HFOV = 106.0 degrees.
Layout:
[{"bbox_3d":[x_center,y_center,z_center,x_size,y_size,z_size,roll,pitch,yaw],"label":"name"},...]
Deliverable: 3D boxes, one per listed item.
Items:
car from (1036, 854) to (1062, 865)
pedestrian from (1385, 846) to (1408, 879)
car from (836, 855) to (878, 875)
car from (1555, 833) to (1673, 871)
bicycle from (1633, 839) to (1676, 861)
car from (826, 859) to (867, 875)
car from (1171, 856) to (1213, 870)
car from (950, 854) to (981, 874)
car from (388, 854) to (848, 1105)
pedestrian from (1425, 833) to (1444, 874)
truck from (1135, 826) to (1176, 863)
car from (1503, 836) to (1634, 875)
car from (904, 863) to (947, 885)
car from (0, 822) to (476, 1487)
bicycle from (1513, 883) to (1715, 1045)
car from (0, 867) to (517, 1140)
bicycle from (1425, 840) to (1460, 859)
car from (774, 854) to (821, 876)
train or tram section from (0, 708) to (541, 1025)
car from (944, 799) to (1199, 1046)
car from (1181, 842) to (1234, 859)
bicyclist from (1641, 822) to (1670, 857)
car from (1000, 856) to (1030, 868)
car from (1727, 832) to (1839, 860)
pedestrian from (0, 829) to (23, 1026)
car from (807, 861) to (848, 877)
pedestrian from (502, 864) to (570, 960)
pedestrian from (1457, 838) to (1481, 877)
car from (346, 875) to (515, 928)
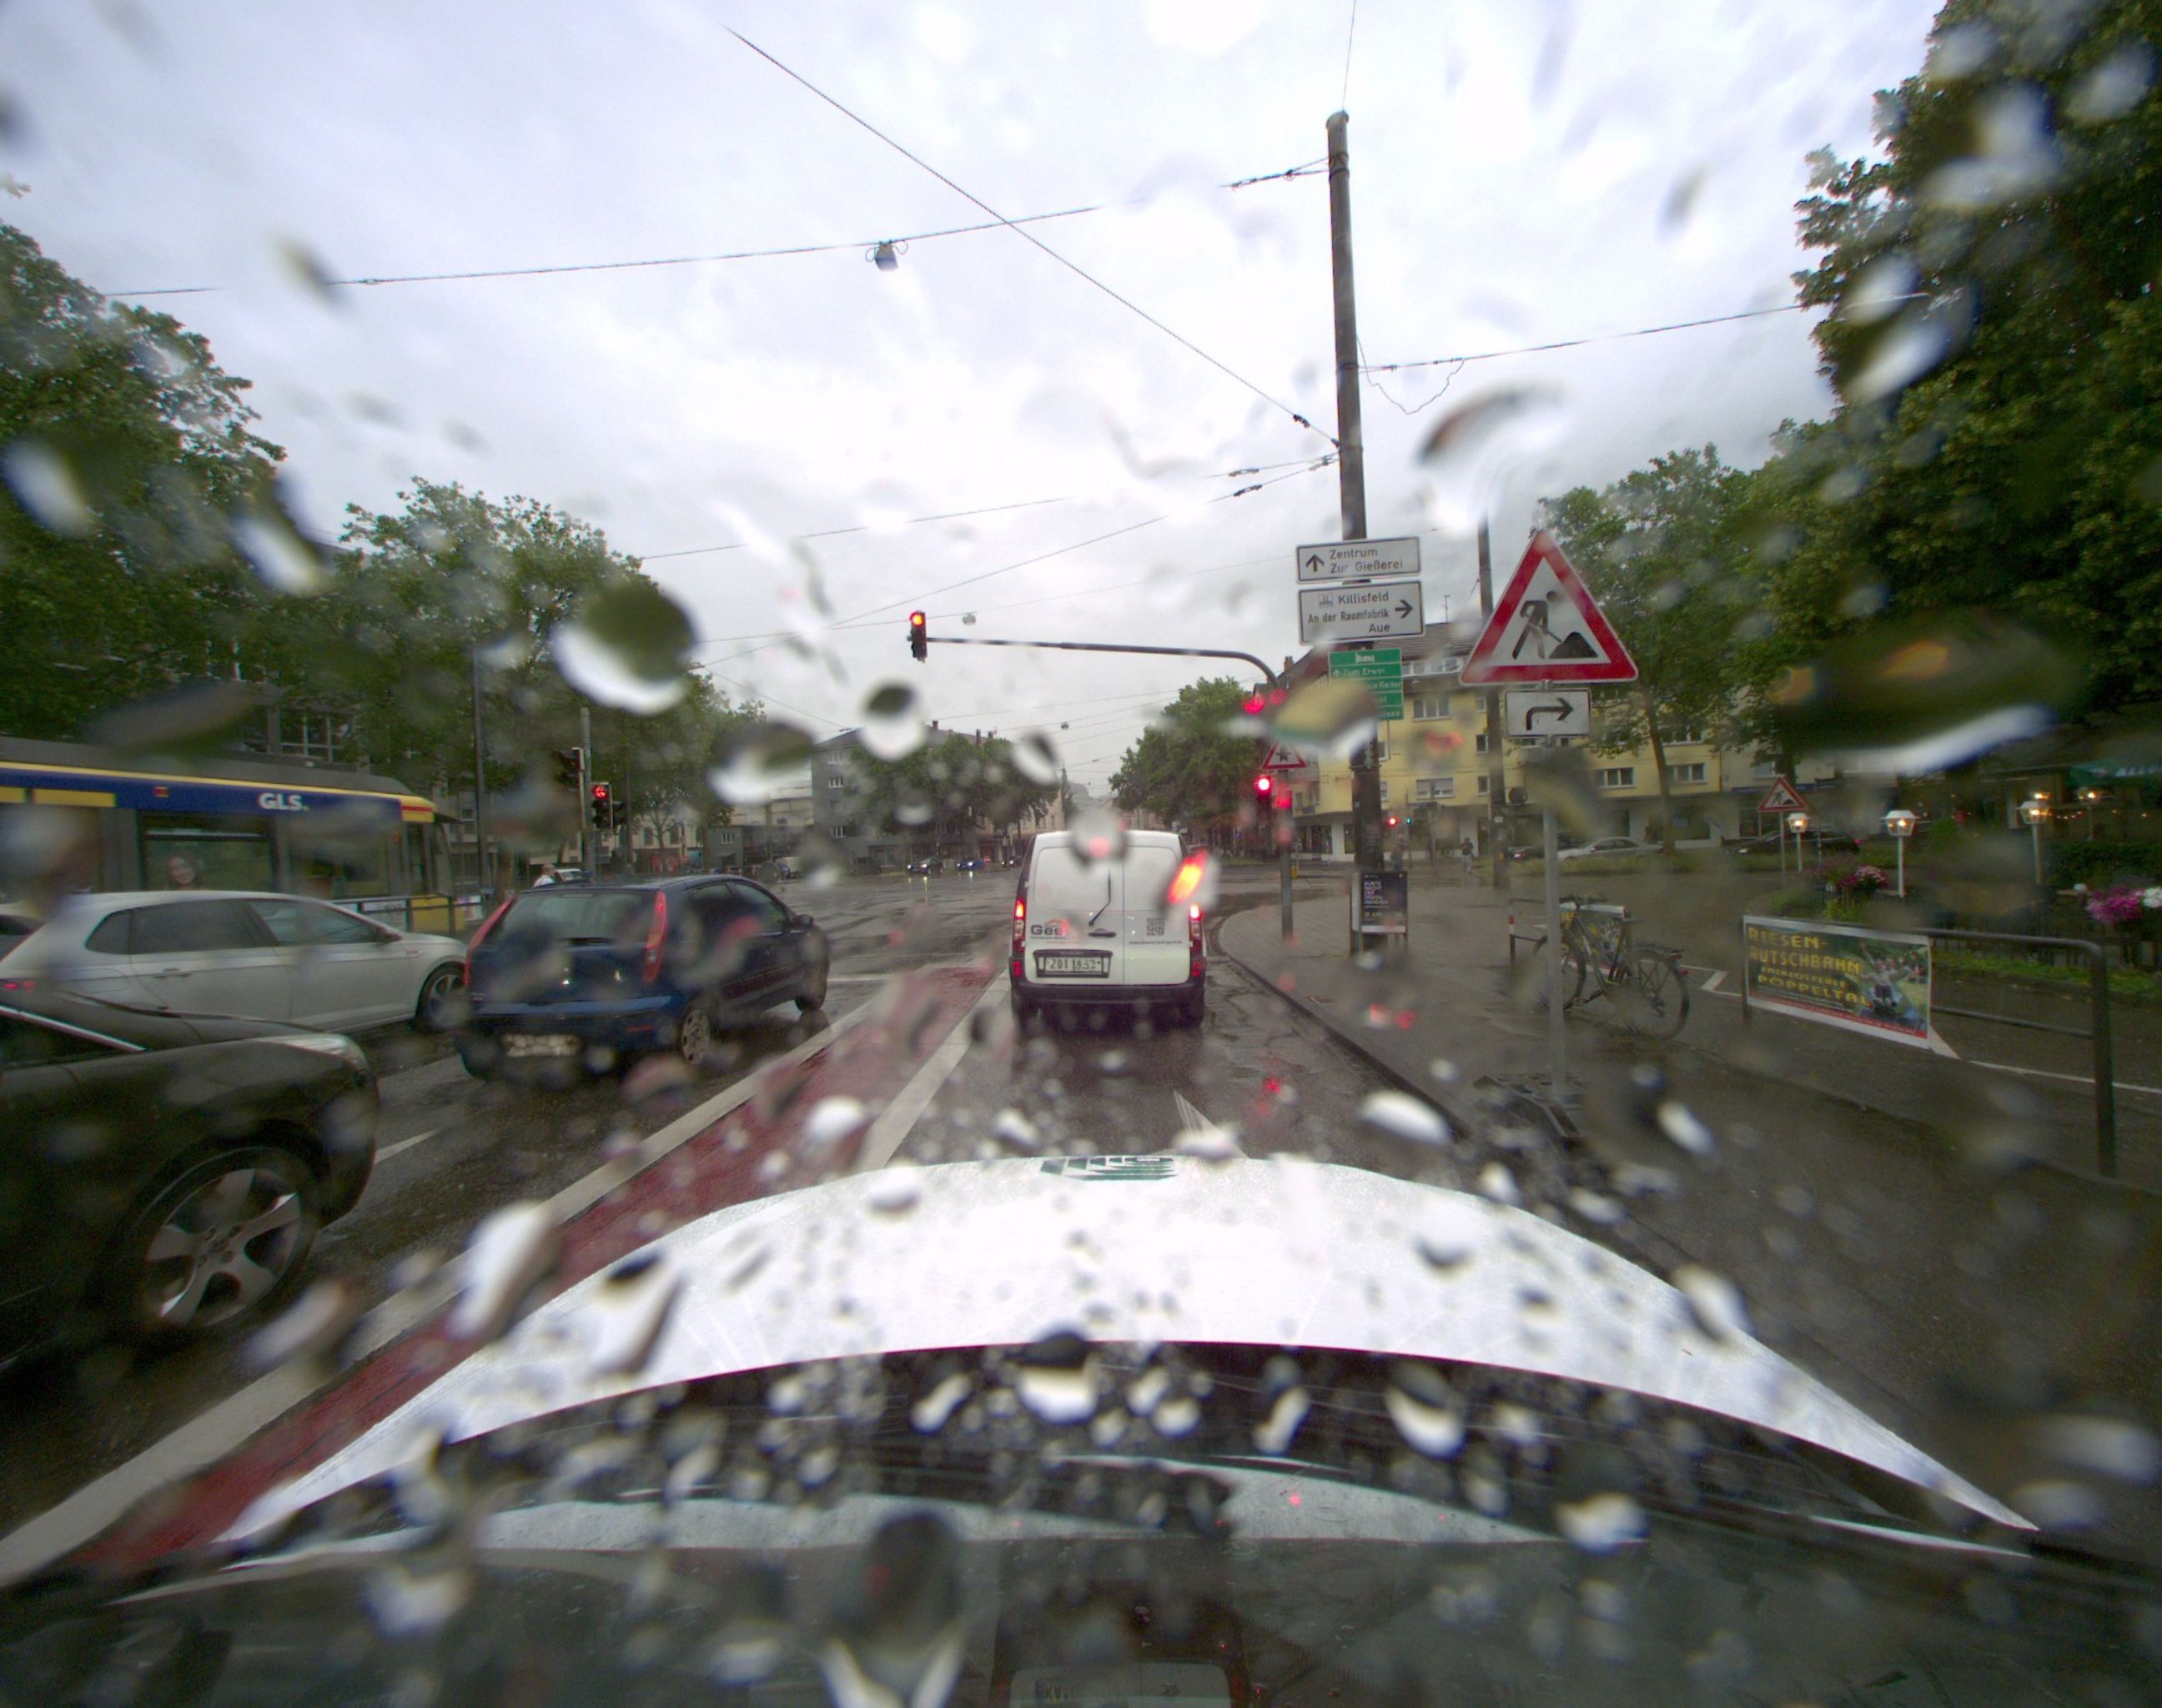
[{"bbox_3d":[-4.123,0.737,105.878,1.935,1.239,4.020,-1,1,19],"label":"car"},{"bbox_3d":[14.714,0.404,37.988,0.820,1.534,0.616,-1,-1,-37],"label":"pedestrian"},{"bbox_3d":[-23.426,1.182,85.450,1.975,2.013,4.025,-1,0,29],"label":"car"},{"bbox_3d":[22.917,-0.094,35.165,3.906,1.490,1.815,-1,1,17],"label":"car"},{"bbox_3d":[26.640,-0.169,37.833,1.631,1.002,0.422,-1,0,2],"label":"bicycle"},{"bbox_3d":[-25.202,1.415,87.690,1.975,1.530,4.025,-1,1,29],"label":"car"},{"bbox_3d":[9.630,0.755,70.809,3.437,1.130,1.468,-1,0,-6],"label":"car"},{"bbox_3d":[-11.732,0.979,83.091,1.981,2.013,4.011,-1,0,10],"label":"car"},{"bbox_3d":[-3.520,0.808,7.126,1.720,1.578,3.822,-1,0,2],"label":"car"},{"bbox_3d":[17.459,-0.011,40.183,0.787,2.014,0.865,-1,-1,27],"label":"pedestrian"},{"bbox_3d":[11.146,-1.289,120.050,3.444,5.087,15.367,-1,0,15],"label":"truck"},{"bbox_3d":[22.852,0.111,38.365,4.902,1.643,2.007,-1,-3,14],"label":"car"},{"bbox_3d":[-13.412,1.716,70.502,1.935,1.607,4.020,-1,1,19],"label":"car"},{"bbox_3d":[-3.653,0.767,1.513,1.827,1.668,4.174,-1,0,2],"label":"car"},{"bbox_3d":[4.481,0.848,7.041,0.512,1.107,2.018,1,0,3],"label":"bicycle"},{"bbox_3d":[-6.694,0.888,6.522,1.623,1.494,3.783,-1,0,2],"label":"car"},{"bbox_3d":[24.326,-0.296,54.851,2.085,1.261,0.534,-1,1,16],"label":"bicycle"},{"bbox_3d":[-30.759,1.152,88.410,1.975,2.198,4.816,0,2,25],"label":"car"},{"bbox_3d":[-13.414,0.139,9.586,3.528,3.413,15.507,0,0,1],"label":"train or tram section"},{"bbox_3d":[-0.004,0.593,9.311,2.092,2.012,4.965,-2,-1,2],"label":"car"},{"bbox_3d":[10.676,-0.318,68.893,4.160,1.339,1.518,-2,1,-6],"label":"car"},{"bbox_3d":[26.693,-0.668,37.844,0.810,1.615,0.711,-1,0,2],"label":"bicyclist"},{"bbox_3d":[-7.551,0.921,93.549,1.935,1.239,4.020,-1,1,19],"label":"car"},{"bbox_3d":[29.276,-0.318,34.026,3.511,1.082,1.248,-1,0,4],"label":"car"},{"bbox_3d":[-9.986,0.678,6.883,0.763,1.746,0.899,-4,1,1],"label":"pedestrian"},{"bbox_3d":[-27.528,1.604,88.482,1.935,1.496,4.025,-1,1,29],"label":"car"},{"bbox_3d":[-9.495,0.989,14.209,0.621,1.607,0.744,-1,0,9],"label":"pedestrian"},{"bbox_3d":[17.305,0.156,36.329,0.896,1.669,1.026,-1,0,27],"label":"pedestrian"},{"bbox_3d":[-18.603,1.304,23.479,1.582,1.314,3.538,-1,0,16],"label":"car"}]
